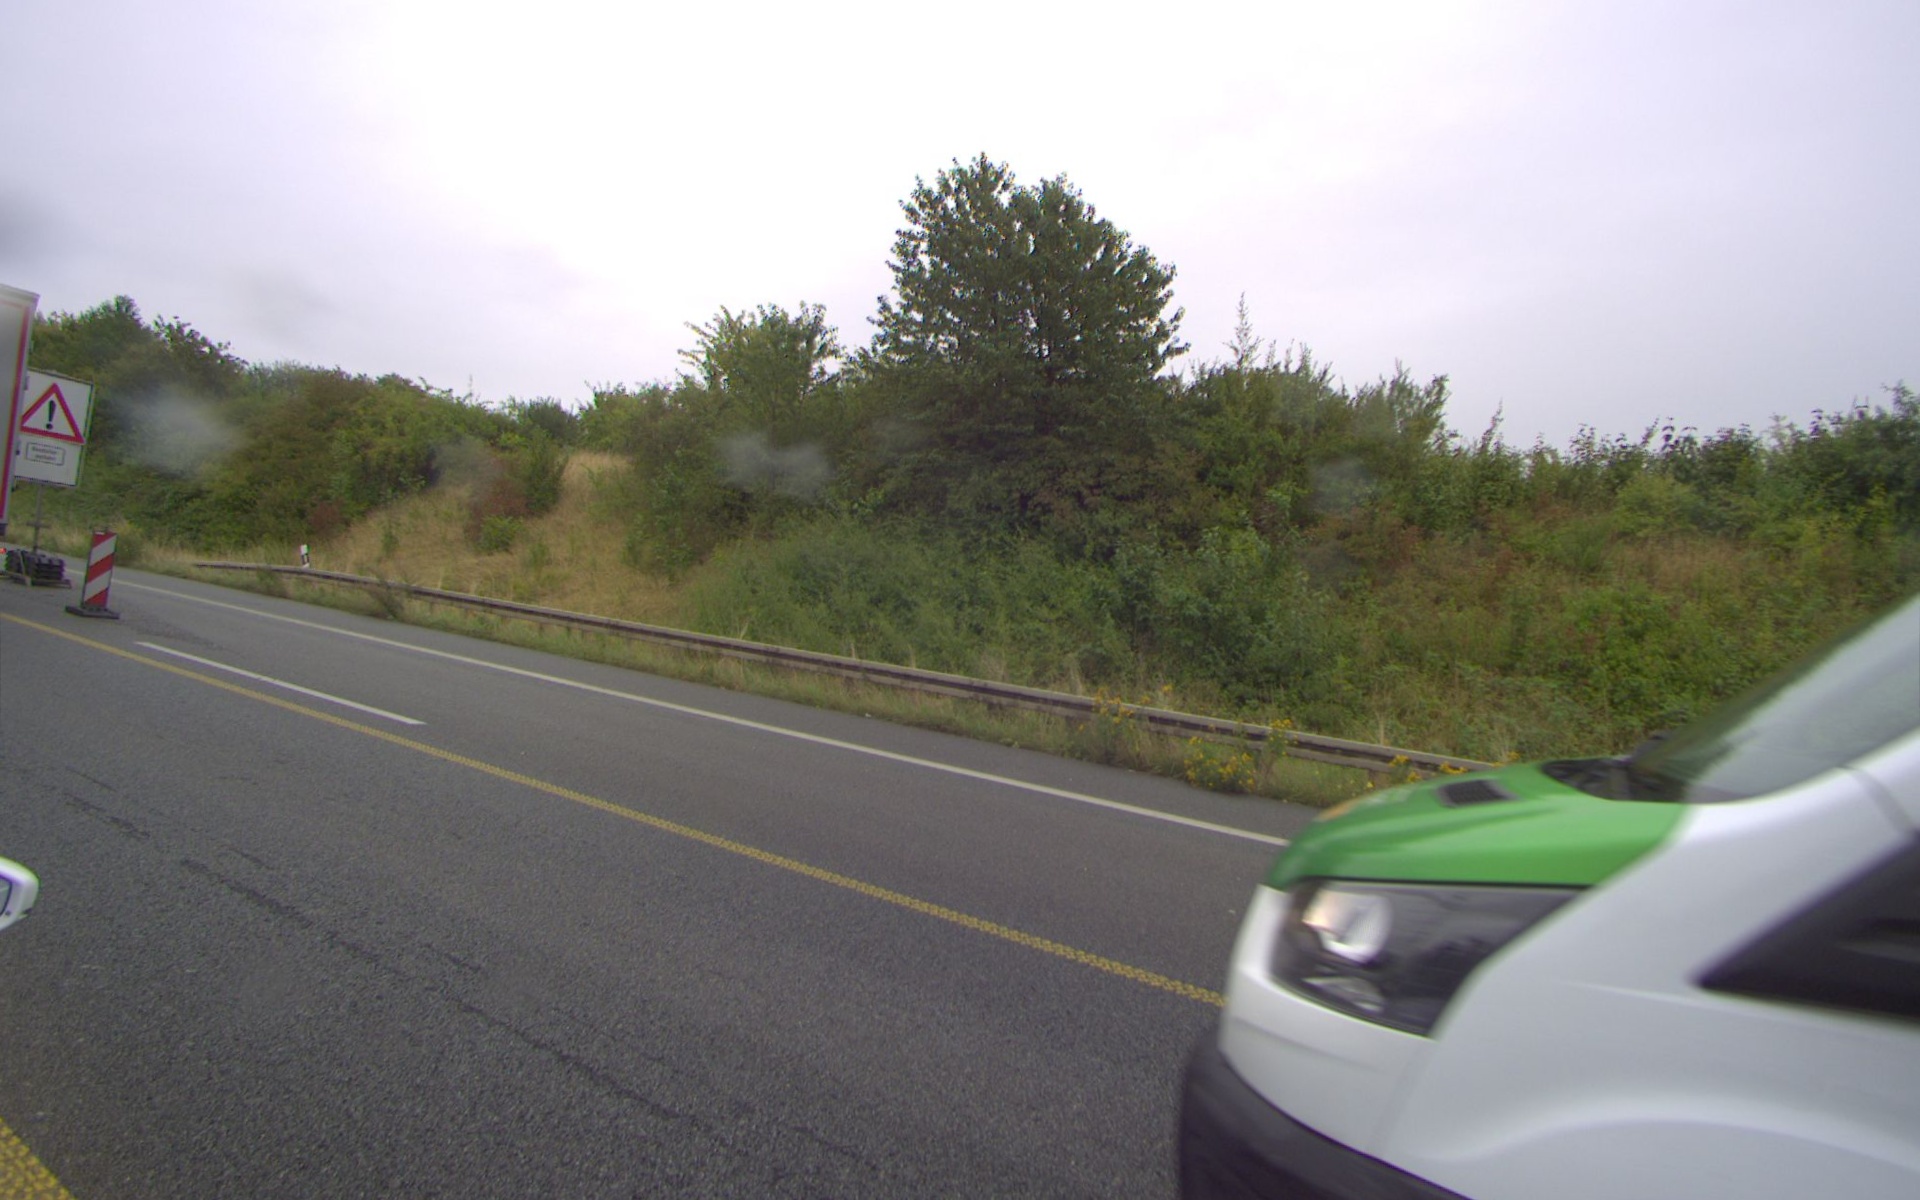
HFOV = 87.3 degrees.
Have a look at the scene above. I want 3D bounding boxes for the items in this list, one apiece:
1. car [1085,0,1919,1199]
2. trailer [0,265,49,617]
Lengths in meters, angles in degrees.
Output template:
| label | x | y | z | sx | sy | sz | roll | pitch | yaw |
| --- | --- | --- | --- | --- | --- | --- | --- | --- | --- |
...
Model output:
| label | x | y | z | sx | sy | sz | roll | pitch | yaw |
| --- | --- | --- | --- | --- | --- | --- | --- | --- | --- |
| car | 3.230 | 0.496 | 1.133 | 5.659 | 2.816 | 1.997 | 7 | 0 | 31 |
| trailer | -17.861 | -2.657 | 14.775 | 13.503 | 4.196 | 2.710 | 7 | -1 | 32 |
